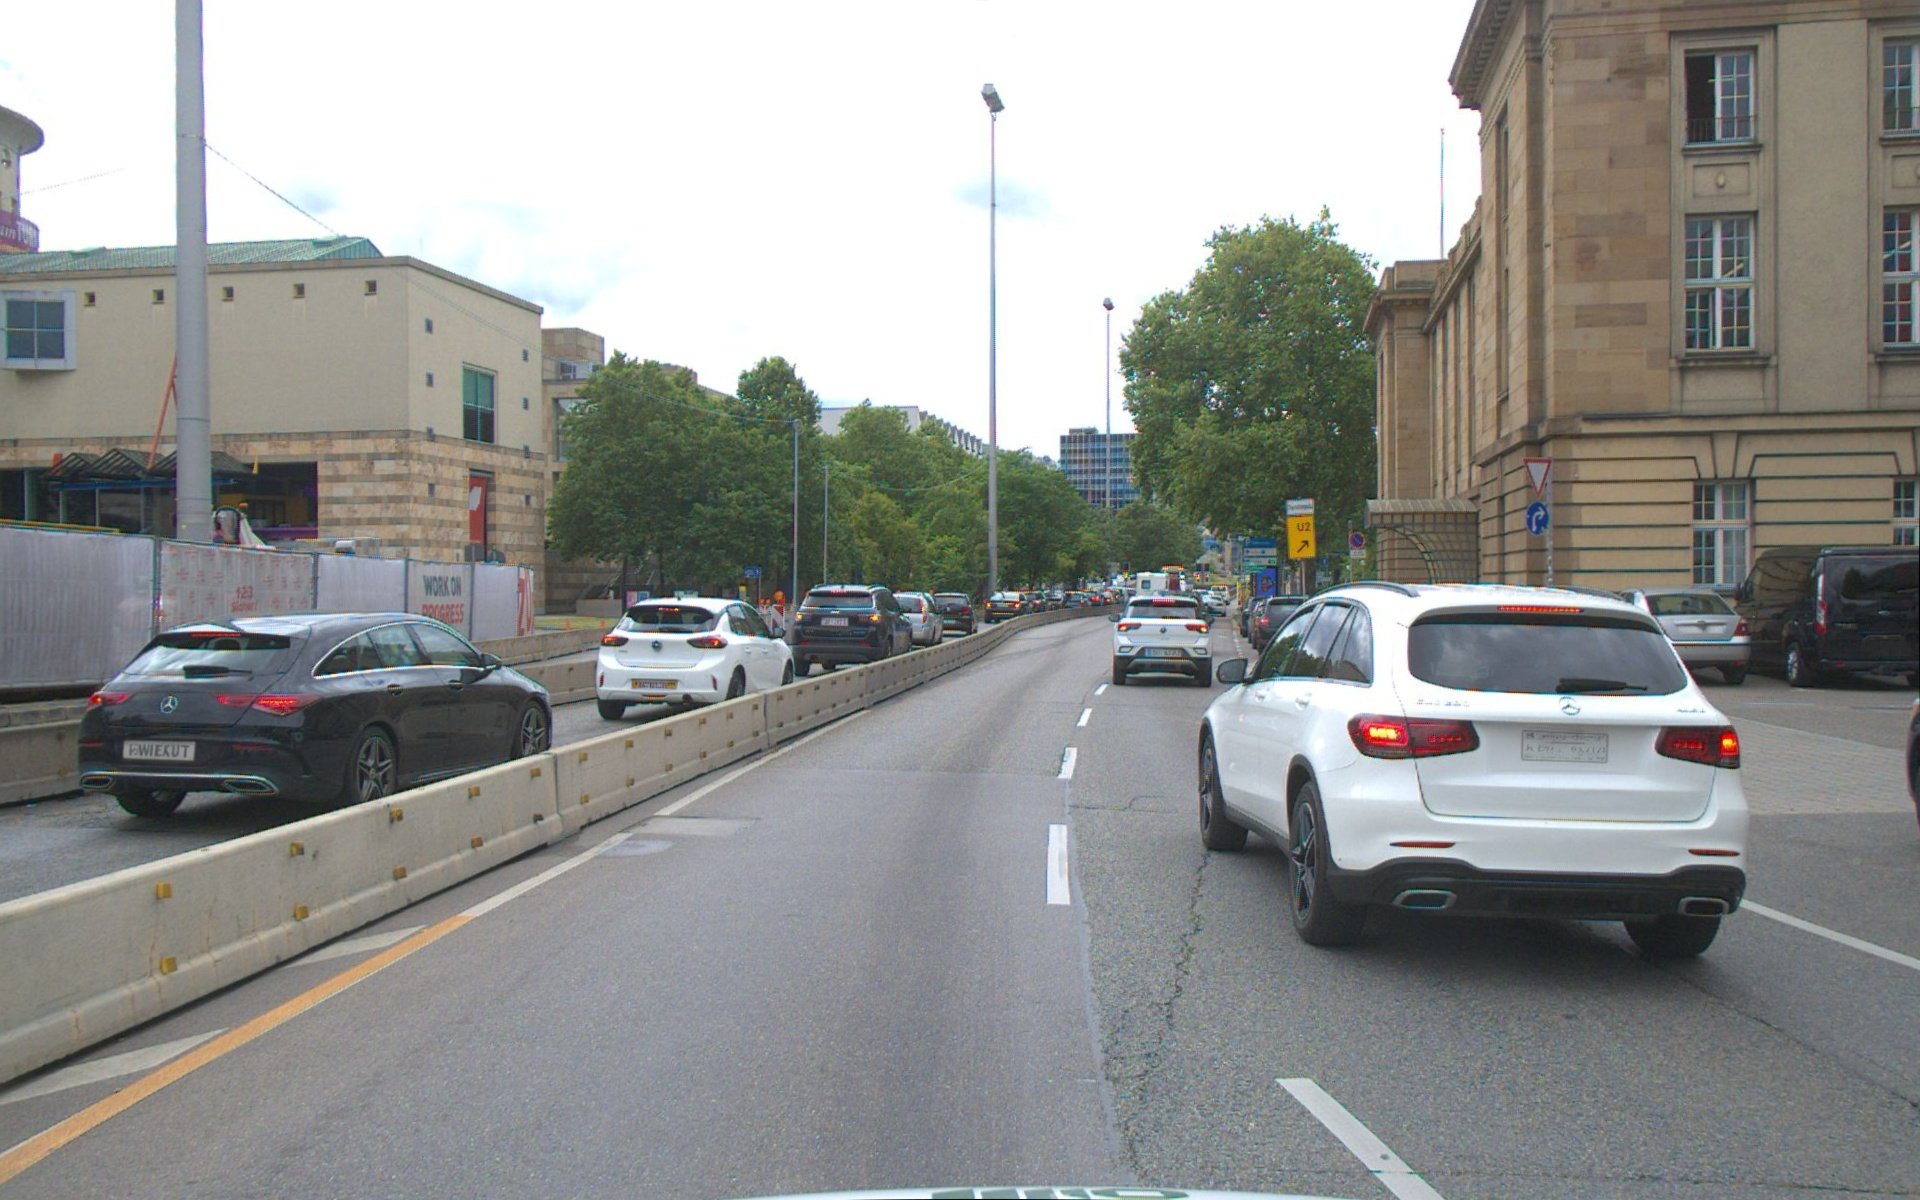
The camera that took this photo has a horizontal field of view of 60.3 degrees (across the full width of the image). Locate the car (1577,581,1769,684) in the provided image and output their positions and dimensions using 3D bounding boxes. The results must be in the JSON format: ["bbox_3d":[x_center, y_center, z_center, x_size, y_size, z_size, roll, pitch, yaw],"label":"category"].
[{"bbox_3d":[11.451,0.450,26.879,1.740,1.494,4.579,1,1,9],"label":"car"}]

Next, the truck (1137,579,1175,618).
[{"bbox_3d":[15.491,-0.122,130.554,2.565,2.911,7.085,1,0,10],"label":"truck"}]

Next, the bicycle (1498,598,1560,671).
[{"bbox_3d":[10.298,0.599,29.989,0.596,1.246,1.964,-3,0,7],"label":"bicycle"}]

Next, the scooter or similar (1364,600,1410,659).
[{"bbox_3d":[9.479,0.658,36.749,0.443,1.275,1.366,0,-1,-10],"label":"scooter or similar"}]

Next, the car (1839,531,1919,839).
[{"bbox_3d":[6.289,0.519,8.208,1.766,1.768,4.489,1,1,5],"label":"car"}]

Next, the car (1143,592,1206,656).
[{"bbox_3d":[5.961,0.626,45.794,1.624,1.668,3.550,1,0,8],"label":"car"}]

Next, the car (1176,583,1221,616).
[{"bbox_3d":[11.242,-0.012,78.219,1.883,1.468,3.969,1,0,5],"label":"car"}]

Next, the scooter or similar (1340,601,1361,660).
[{"bbox_3d":[8.710,0.667,36.942,0.371,1.284,1.404,0,0,10],"label":"scooter or similar"}]

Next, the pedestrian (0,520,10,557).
[{"bbox_3d":[-53.635,-3.450,92.640,0.402,2.049,0.601,2,0,10],"label":"pedestrian"}]

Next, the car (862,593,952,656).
[{"bbox_3d":[-1.318,0.603,42.892,1.839,1.507,4.707,1,0,4],"label":"car"}]

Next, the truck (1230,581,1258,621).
[{"bbox_3d":[30.736,0.135,179.119,2.816,4.174,6.643,1,0,10],"label":"truck"}]

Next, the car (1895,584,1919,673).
[{"bbox_3d":[16.158,0.480,25.721,1.608,1.437,3.620,1,1,9],"label":"car"}]

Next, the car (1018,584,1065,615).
[{"bbox_3d":[4.226,-0.026,85.194,1.777,1.525,4.773,0,0,10],"label":"car"}]

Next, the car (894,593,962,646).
[{"bbox_3d":[-0.939,0.564,50.368,1.637,1.533,3.856,1,0,5],"label":"car"}]

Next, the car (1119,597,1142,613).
[{"bbox_3d":[14.929,0.433,144.491,1.624,1.343,3.550,1,0,12],"label":"car"}]

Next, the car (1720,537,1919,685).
[{"bbox_3d":[13.753,0.130,26.074,1.906,2.105,4.920,1,1,9],"label":"car"}]

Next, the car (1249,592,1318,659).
[{"bbox_3d":[8.340,0.633,42.878,1.513,1.579,3.711,-3,0,8],"label":"car"}]

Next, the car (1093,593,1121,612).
[{"bbox_3d":[10.823,0.173,121.831,1.624,1.343,3.550,1,0,12],"label":"car"}]

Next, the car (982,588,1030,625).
[{"bbox_3d":[2.166,0.293,77.082,1.883,1.664,4.939,1,0,5],"label":"car"}]

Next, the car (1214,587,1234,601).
[{"bbox_3d":[27.877,-0.617,174.703,1.905,1.343,4.020,1,0,12],"label":"car"}]

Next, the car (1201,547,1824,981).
[{"bbox_3d":[2.488,0.644,8.693,1.751,1.653,4.437,1,0,0],"label":"car"}]

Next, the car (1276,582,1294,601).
[{"bbox_3d":[37.256,-0.982,189.689,1.951,2.049,4.003,1,0,12],"label":"car"}]

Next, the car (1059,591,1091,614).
[{"bbox_3d":[7.347,0.162,105.357,1.626,1.461,3.964,1,0,10],"label":"car"}]

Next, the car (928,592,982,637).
[{"bbox_3d":[-0.148,0.476,57.117,1.624,1.479,4.199,1,0,3],"label":"car"}]

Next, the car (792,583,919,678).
[{"bbox_3d":[-1.894,0.541,31.159,1.738,1.649,4.049,1,0,5],"label":"car"}]

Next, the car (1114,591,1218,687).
[{"bbox_3d":[3.723,0.664,30.142,1.758,1.636,3.757,-1,0,6],"label":"car"}]

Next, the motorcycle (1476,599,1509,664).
[{"bbox_3d":[10.734,0.611,33.365,0.445,1.264,1.924,-1,0,13],"label":"motorcycle"}]

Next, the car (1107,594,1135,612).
[{"bbox_3d":[12.343,0.247,126.419,1.624,1.343,3.550,1,0,14],"label":"car"}]

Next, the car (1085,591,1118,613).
[{"bbox_3d":[9.714,0.117,113.360,1.738,1.445,4.004,0,0,13],"label":"car"}]

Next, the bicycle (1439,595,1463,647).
[{"bbox_3d":[12.736,0.525,42.905,0.403,1.311,1.792,0,0,10],"label":"bicycle"}]

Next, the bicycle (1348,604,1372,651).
[{"bbox_3d":[10.446,0.708,43.224,0.450,1.177,1.833,0,0,9],"label":"bicycle"}]

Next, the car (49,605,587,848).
[{"bbox_3d":[-4.546,0.787,12.611,1.815,1.440,4.569,1,0,8],"label":"car"}]

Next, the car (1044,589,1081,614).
[{"bbox_3d":[5.977,0.088,95.818,1.642,1.391,4.547,0,0,10],"label":"car"}]

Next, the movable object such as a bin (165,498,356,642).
[{"bbox_3d":[-11.411,-0.472,27.191,1.489,2.223,3.295,0,0,6],"label":"movable object such as a bin"}]

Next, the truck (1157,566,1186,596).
[{"bbox_3d":[22.255,-1.966,173.757,2.634,3.044,5.642,2,0,10],"label":"truck"}]

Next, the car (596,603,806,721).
[{"bbox_3d":[-3.161,0.717,20.937,1.690,1.319,3.937,1,0,5],"label":"car"}]
